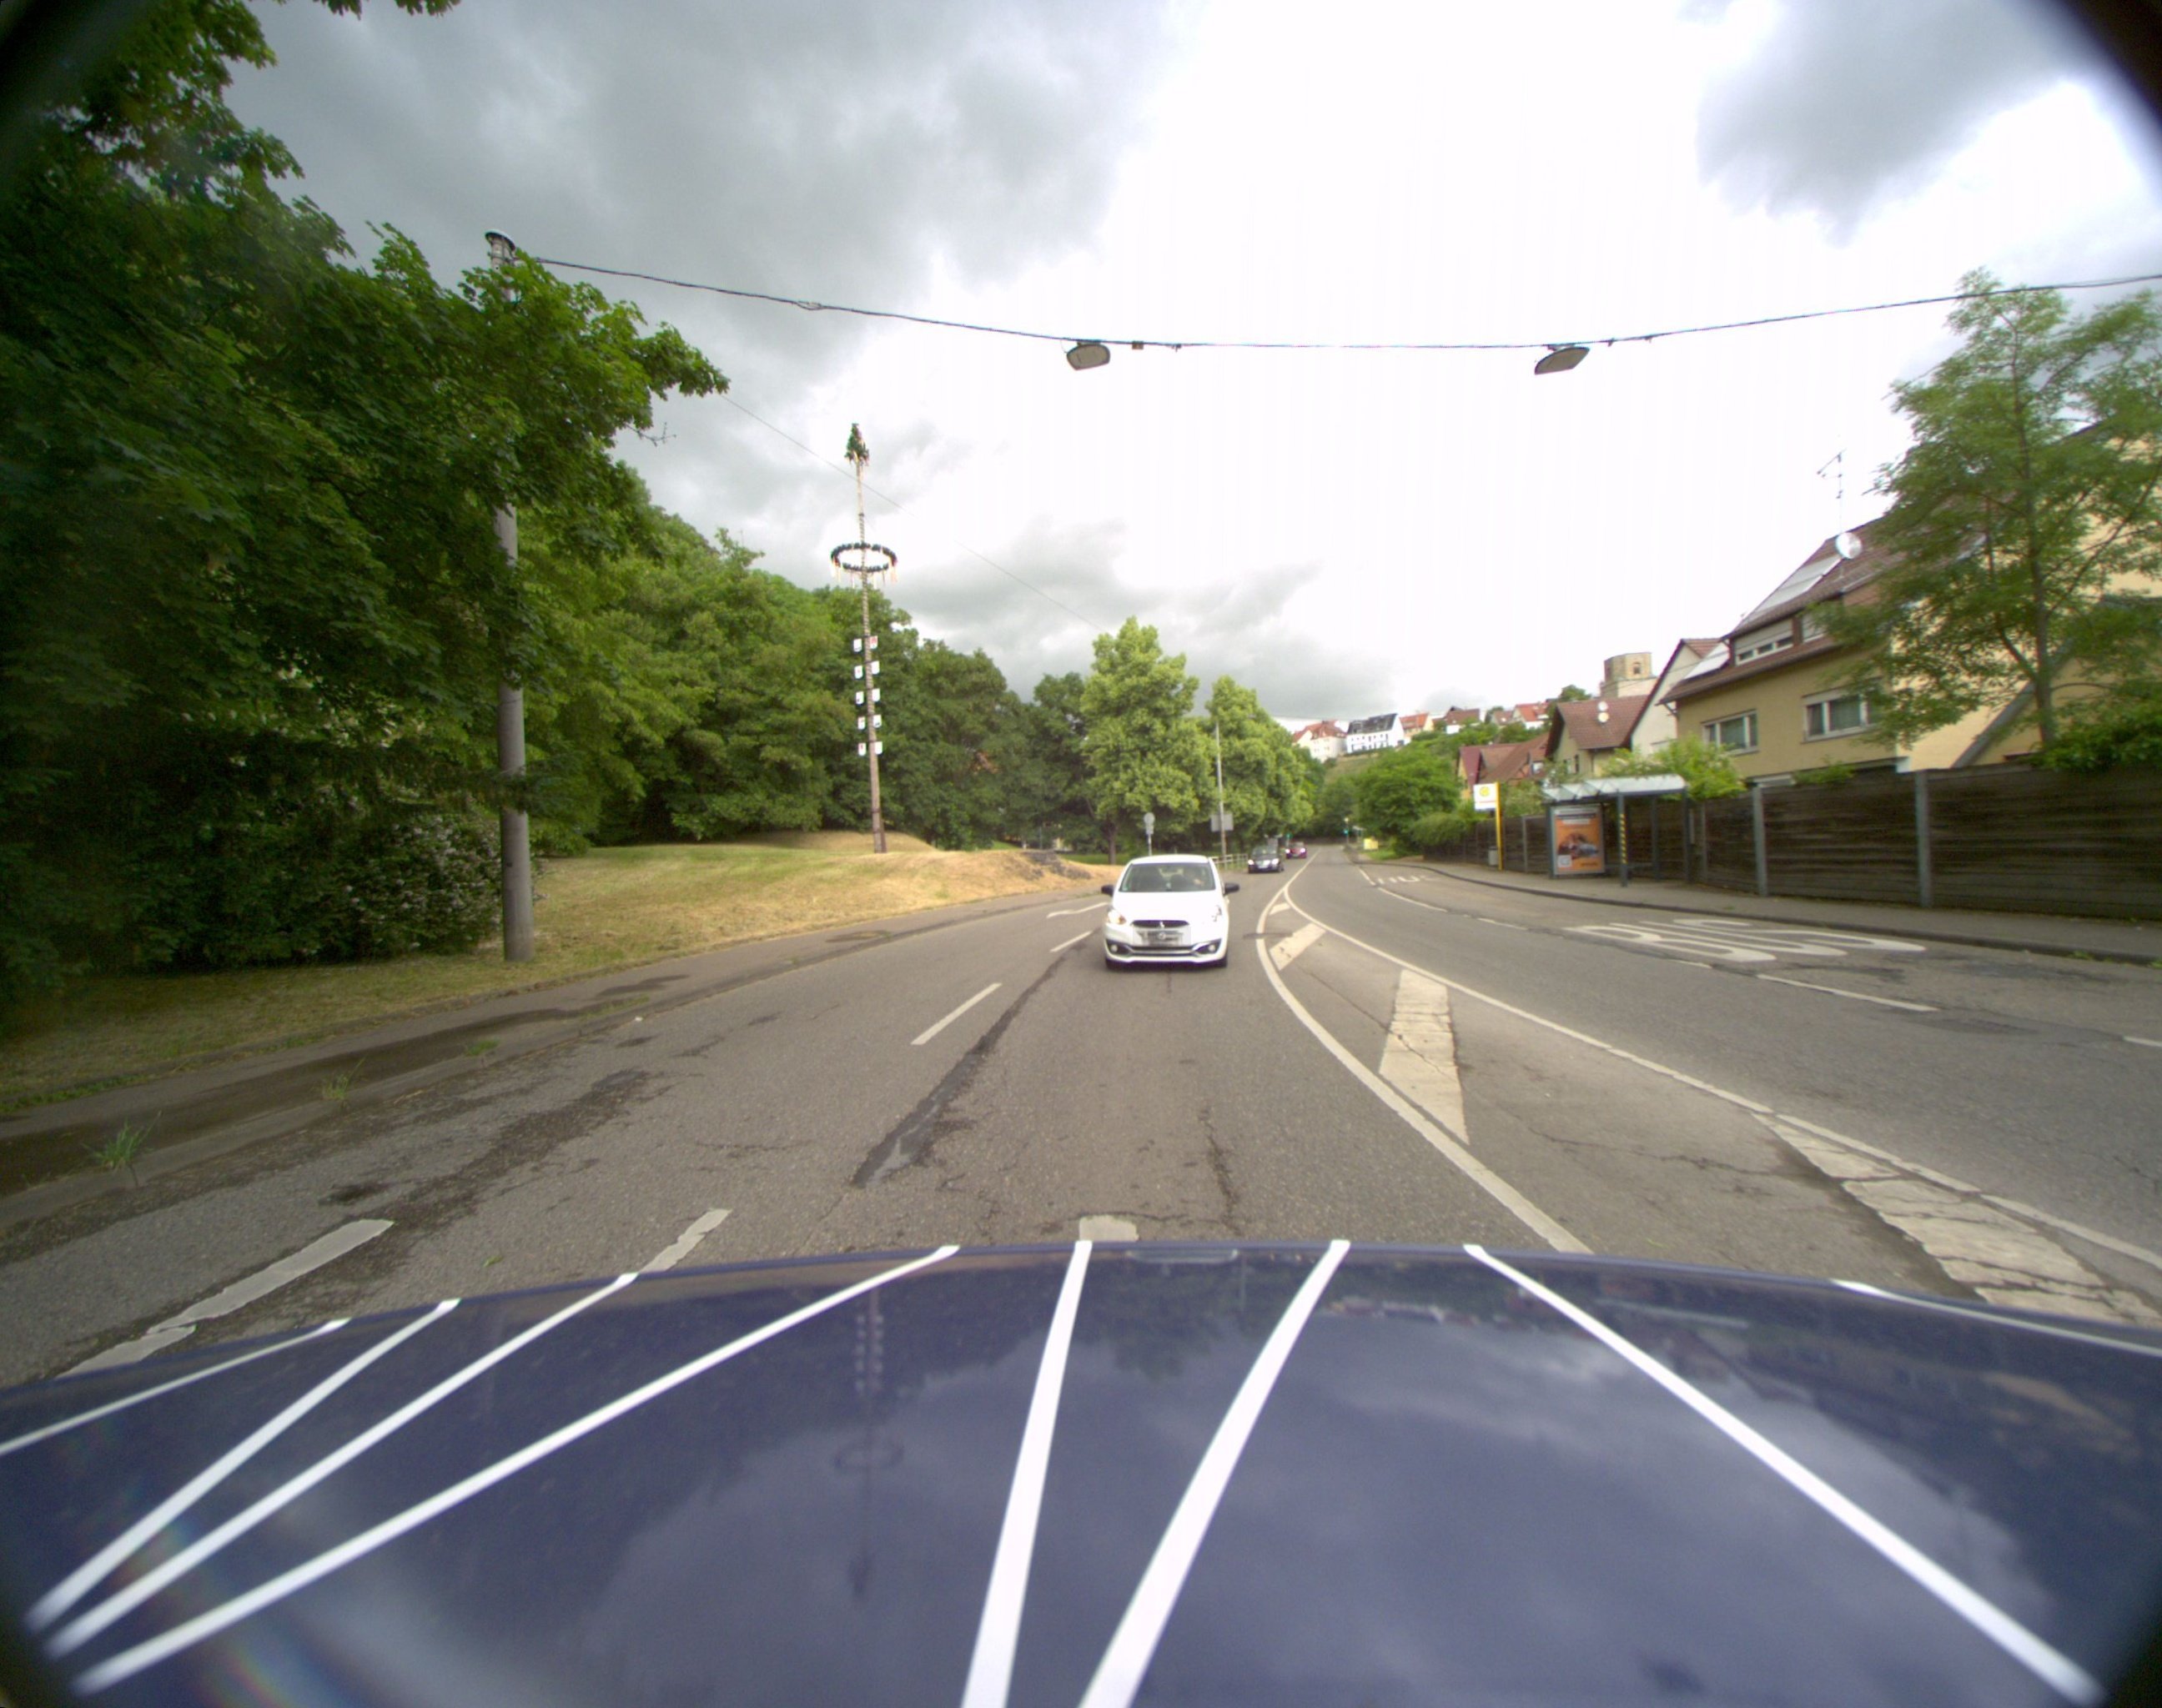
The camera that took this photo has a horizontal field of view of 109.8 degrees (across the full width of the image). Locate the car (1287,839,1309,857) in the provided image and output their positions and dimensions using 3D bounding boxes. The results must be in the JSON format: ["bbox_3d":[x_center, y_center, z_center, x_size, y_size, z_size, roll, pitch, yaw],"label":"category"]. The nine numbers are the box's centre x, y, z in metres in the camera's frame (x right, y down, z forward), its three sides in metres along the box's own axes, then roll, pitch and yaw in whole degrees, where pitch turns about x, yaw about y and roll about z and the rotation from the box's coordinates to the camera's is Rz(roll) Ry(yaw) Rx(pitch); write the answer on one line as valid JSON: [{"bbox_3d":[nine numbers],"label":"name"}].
[{"bbox_3d":[21.715,-0.644,75.993,1.826,1.662,4.063,-2,1,19],"label":"car"}]

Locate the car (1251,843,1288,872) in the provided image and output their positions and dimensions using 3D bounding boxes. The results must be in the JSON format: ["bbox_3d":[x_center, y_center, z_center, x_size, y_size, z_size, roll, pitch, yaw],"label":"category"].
[{"bbox_3d":[10.821,0.173,43.529,1.722,1.539,3.786,-2,1,18],"label":"car"}]

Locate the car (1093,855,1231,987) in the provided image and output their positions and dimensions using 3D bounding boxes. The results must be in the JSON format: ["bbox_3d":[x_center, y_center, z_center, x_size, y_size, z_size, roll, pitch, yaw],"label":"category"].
[{"bbox_3d":[1.329,0.833,11.042,1.617,1.505,3.607,-2,1,11],"label":"car"}]
